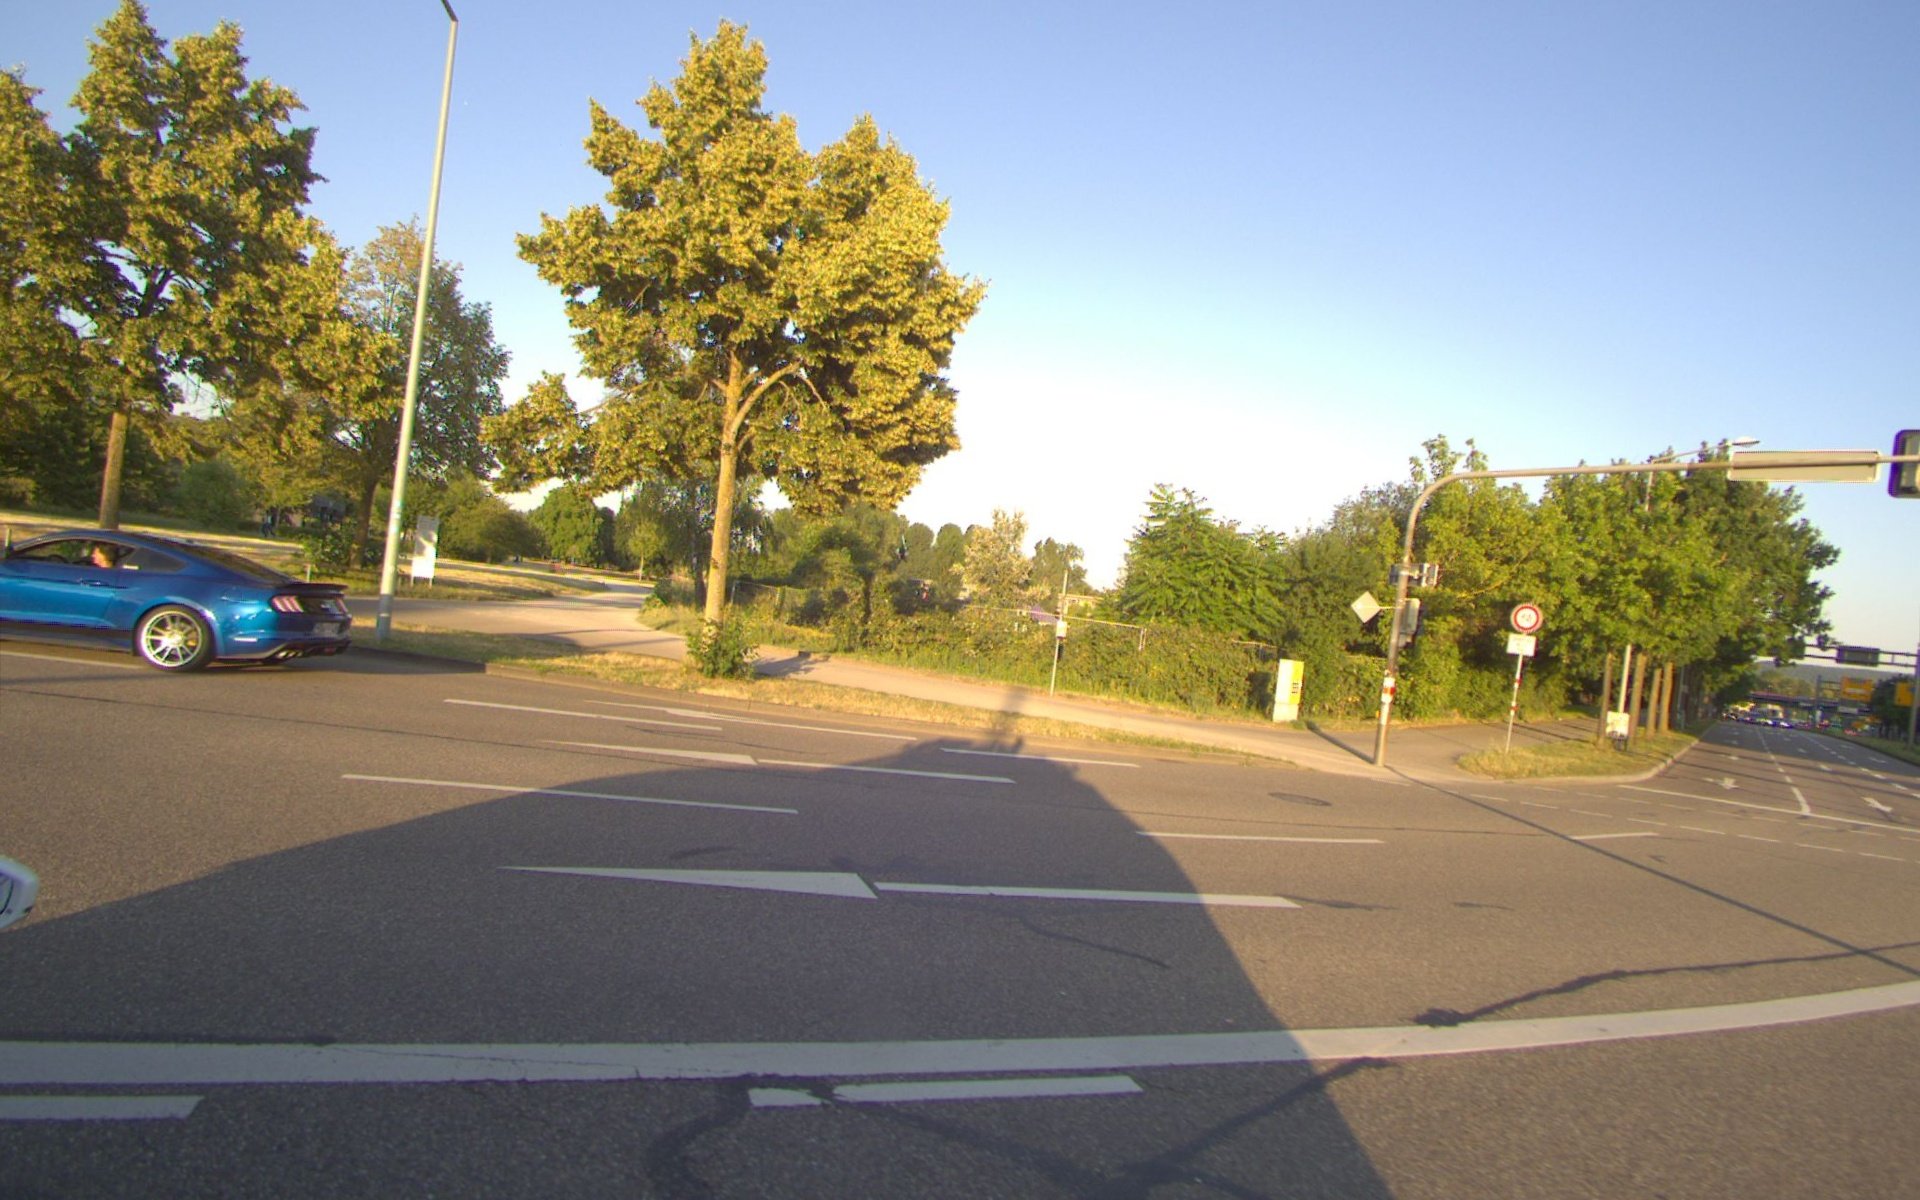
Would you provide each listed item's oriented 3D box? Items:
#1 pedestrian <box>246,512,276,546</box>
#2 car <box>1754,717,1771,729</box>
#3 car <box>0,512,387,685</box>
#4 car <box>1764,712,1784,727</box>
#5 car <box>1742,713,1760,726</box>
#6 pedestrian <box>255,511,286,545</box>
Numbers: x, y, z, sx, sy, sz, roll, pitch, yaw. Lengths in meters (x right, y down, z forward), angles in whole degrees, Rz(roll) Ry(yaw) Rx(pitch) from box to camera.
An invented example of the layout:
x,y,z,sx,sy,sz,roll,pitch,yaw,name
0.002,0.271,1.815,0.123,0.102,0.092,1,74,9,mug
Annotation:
x,y,z,sx,sy,sz,roll,pitch,yaw,name
-43.447,-4.405,62.544,0.894,1.886,1.105,7,0,5,pedestrian
133.044,20.465,166.820,1.971,1.634,3.985,7,-1,39,car
-9.195,-0.096,10.965,4.591,1.357,1.956,8,-1,-8,car
109.982,16.186,135.951,1.971,1.634,3.985,7,-1,39,car
117.544,17.723,149.465,1.971,1.634,3.985,7,-1,39,car
-42.300,-4.385,61.723,0.894,1.886,1.105,7,0,5,pedestrian
